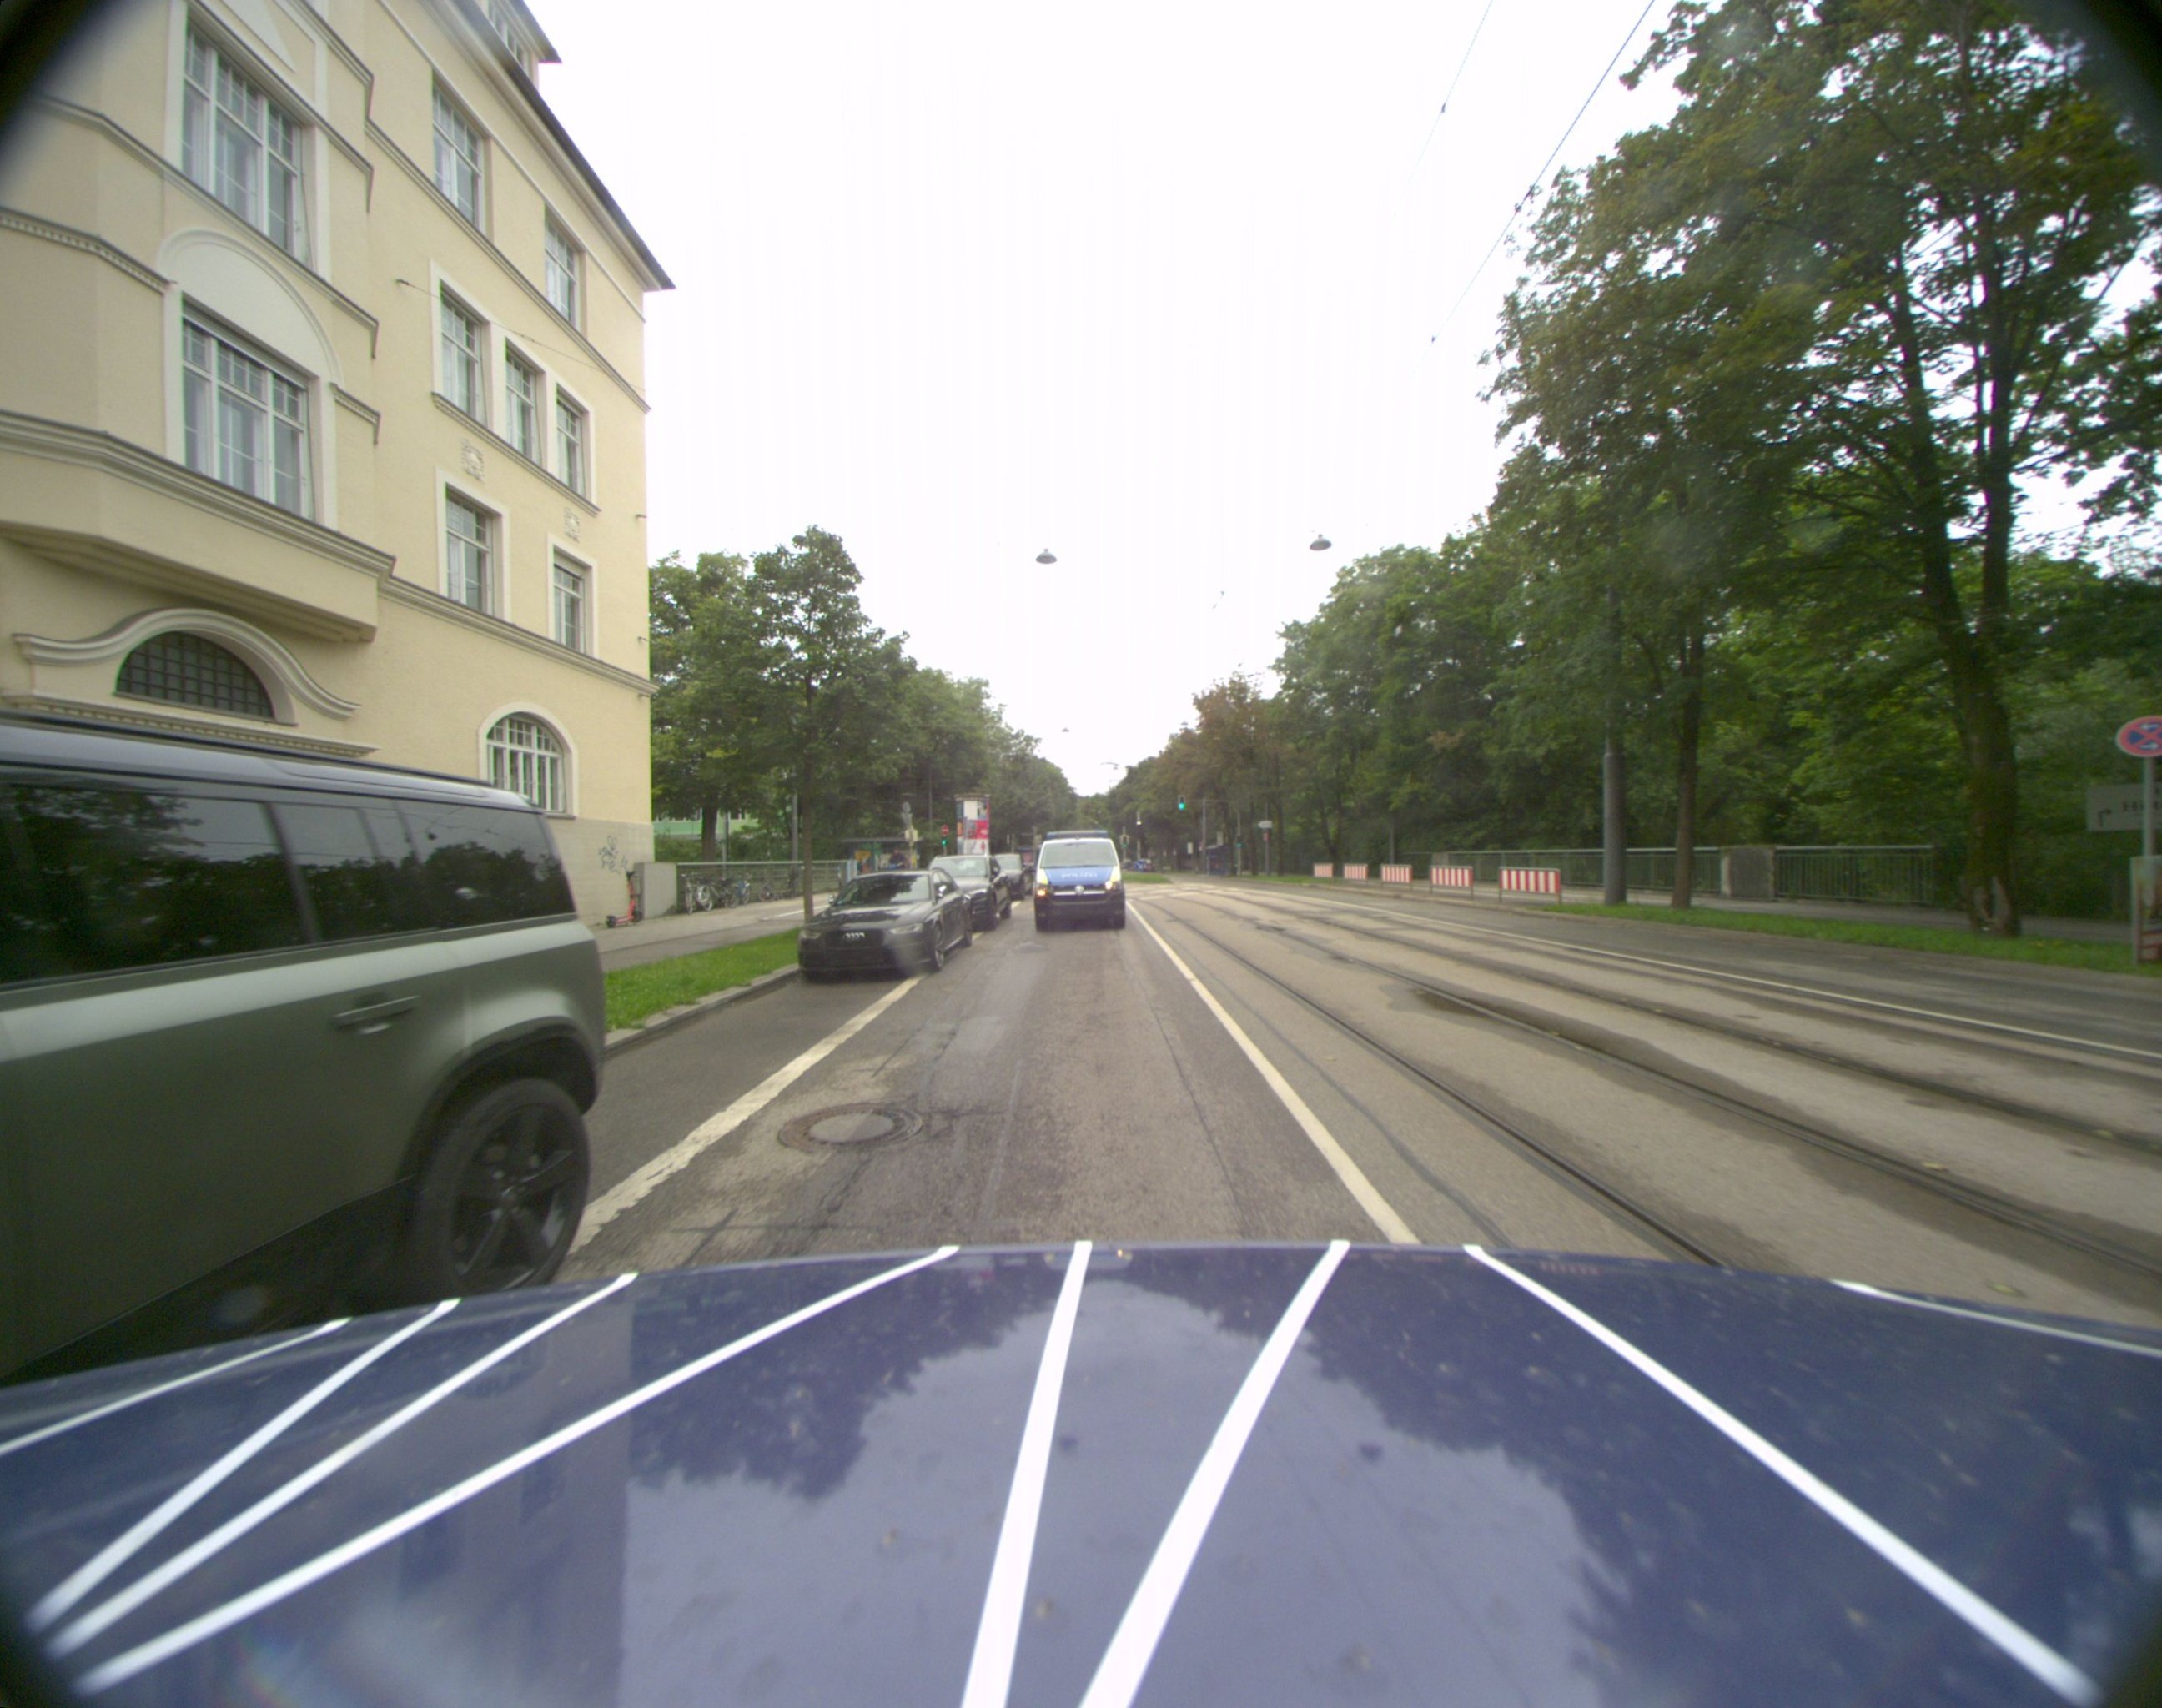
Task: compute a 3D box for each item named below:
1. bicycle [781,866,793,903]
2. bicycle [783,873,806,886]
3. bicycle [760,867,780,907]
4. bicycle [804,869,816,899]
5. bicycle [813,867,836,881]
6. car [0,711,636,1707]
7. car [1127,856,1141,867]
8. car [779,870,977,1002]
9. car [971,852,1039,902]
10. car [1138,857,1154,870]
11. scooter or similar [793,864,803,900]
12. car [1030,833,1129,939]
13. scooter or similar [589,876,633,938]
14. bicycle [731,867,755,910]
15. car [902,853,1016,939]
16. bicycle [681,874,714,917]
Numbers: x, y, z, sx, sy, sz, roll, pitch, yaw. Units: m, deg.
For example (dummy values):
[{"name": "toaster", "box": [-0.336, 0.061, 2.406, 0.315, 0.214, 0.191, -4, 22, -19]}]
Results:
[{"name": "bicycle", "box": [-10.386, 1.067, 26.855, 0.283, 1.274, 1.408, -3, 1, -19]}, {"name": "bicycle", "box": [-20.888, 1.844, 55.354, 1.483, 0.946, 0.373, -1, 1, 3]}, {"name": "bicycle", "box": [-10.504, 1.085, 25.647, 0.282, 1.274, 1.409, -3, 1, -11]}, {"name": "bicycle", "box": [-10.539, 1.151, 29.549, 0.265, 1.076, 1.540, -3, 1, -14]}, {"name": "bicycle", "box": [-18.623, 1.434, 55.127, 1.483, 0.946, 0.373, -1, 1, 3]}, {"name": "car", "box": [-2.871, 0.733, 0.845, 1.919, 1.895, 4.807, -3, 0, -1]}, {"name": "car", "box": [8.662, 1.251, 125.503, 1.888, 1.716, 3.999, -3, 1, -1]}, {"name": "car", "box": [-2.800, 1.049, 11.622, 1.720, 1.418, 4.601, -3, 0, 0]}, {"name": "car", "box": [-2.708, 0.795, 28.109, 1.905, 1.600, 4.665, -3, 0, 1]}, {"name": "car", "box": [9.415, 1.373, 110.842, 1.888, 1.716, 3.999, -3, 1, -1]}, {"name": "scooter or similar", "box": [-10.386, 1.004, 27.845, 0.245, 1.255, 1.493, -3, 1, -22]}, {"name": "car", "box": [-0.074, 0.599, 17.648, 1.903, 2.041, 5.707, -1, 0, -1]}, {"name": "scooter or similar", "box": [-10.424, 1.158, 16.891, 0.262, 1.305, 1.142, -1, 0, 0]}, {"name": "bicycle", "box": [-10.485, 1.054, 23.596, 0.282, 1.274, 1.409, -3, 1, -11]}, {"name": "car", "box": [-2.678, 0.856, 17.764, 1.779, 1.648, 4.487, -2, 0, 1]}, {"name": "bicycle", "box": [-10.576, 1.138, 20.996, 0.287, 1.099, 1.442, -2, 1, -7]}]
